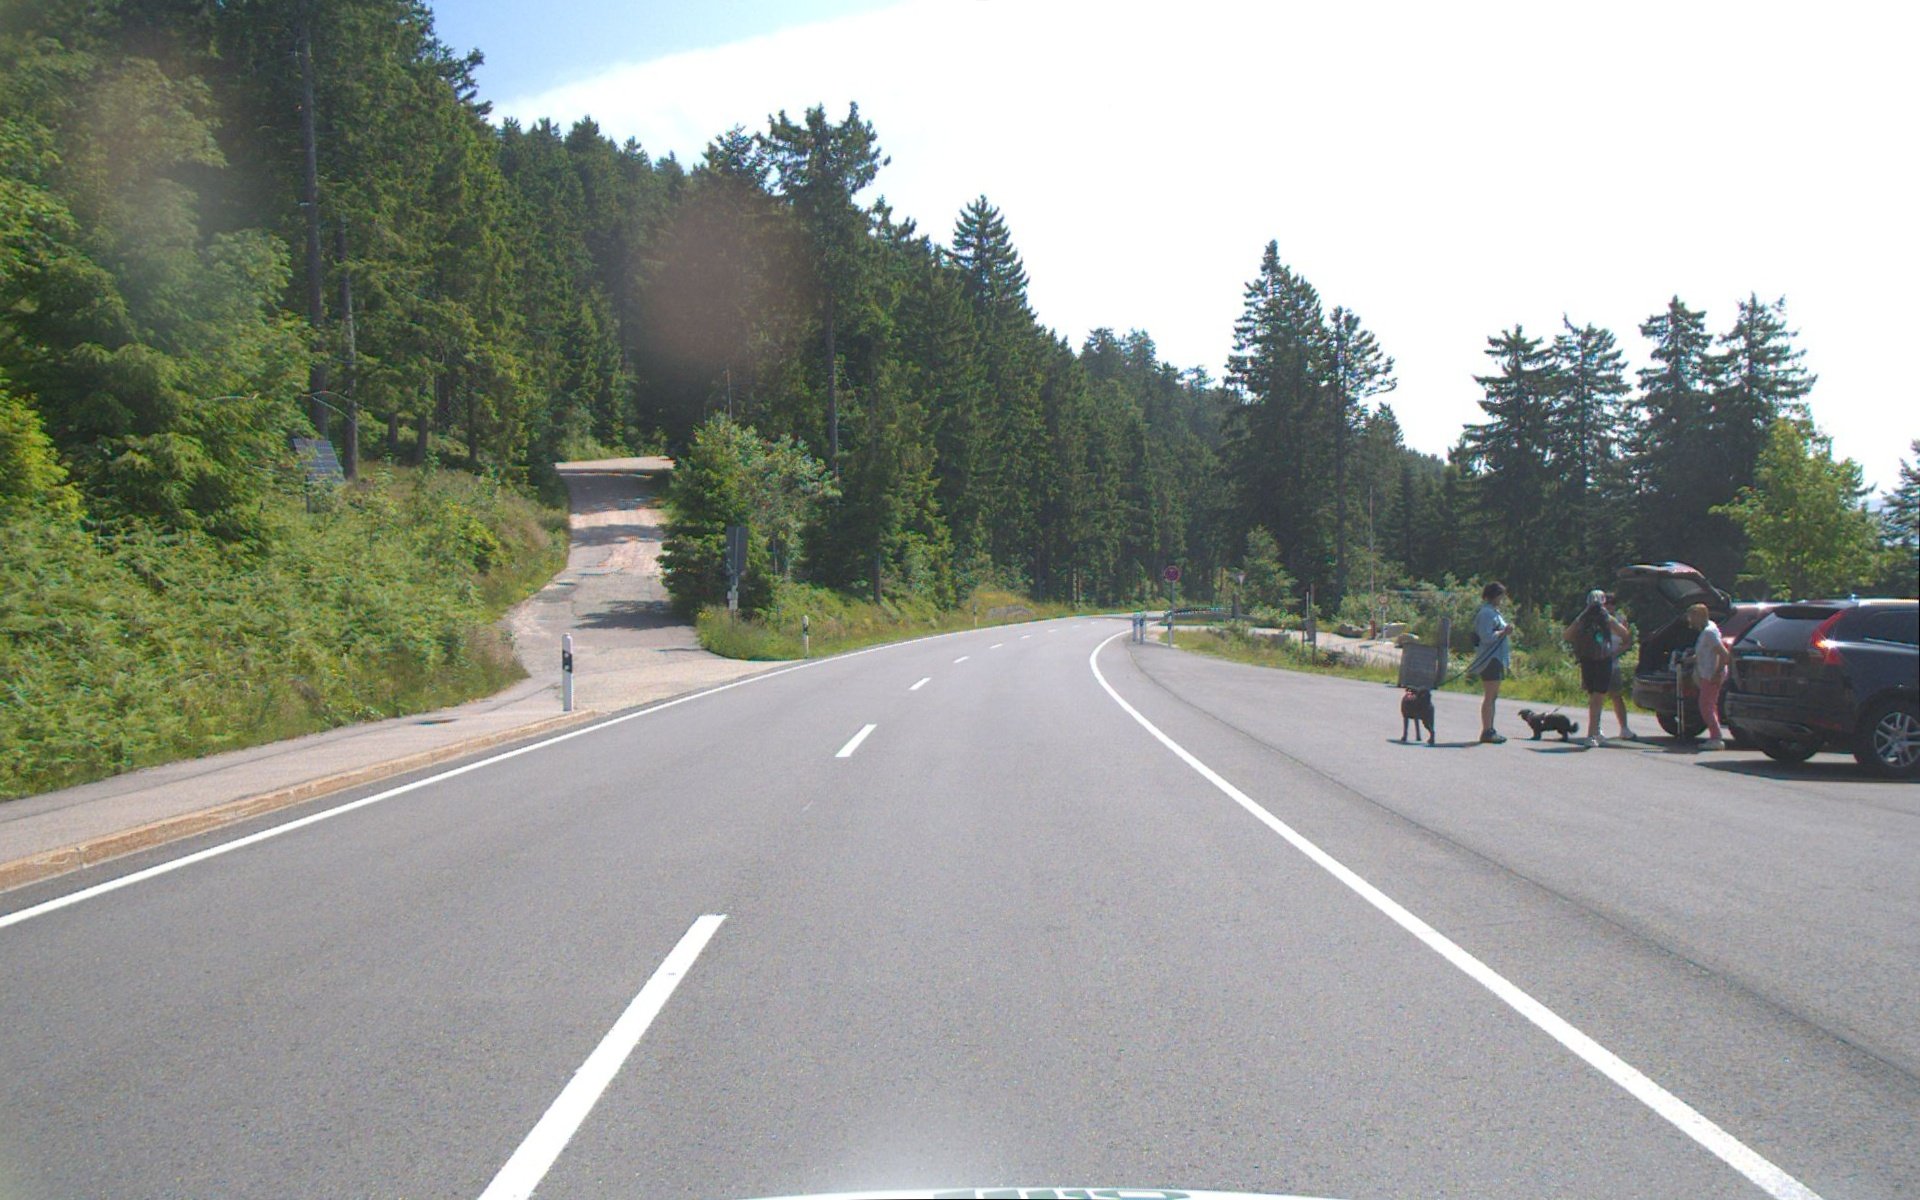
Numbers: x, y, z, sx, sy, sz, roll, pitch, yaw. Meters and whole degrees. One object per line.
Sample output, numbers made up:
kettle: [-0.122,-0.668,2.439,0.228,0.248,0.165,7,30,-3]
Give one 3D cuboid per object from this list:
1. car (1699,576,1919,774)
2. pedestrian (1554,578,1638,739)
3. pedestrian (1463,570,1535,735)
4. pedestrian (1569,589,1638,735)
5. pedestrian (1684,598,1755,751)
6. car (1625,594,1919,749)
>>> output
car: [9.871,0.700,16.474,4.181,1.825,1.890,0,1,-5]
pedestrian: [6.968,0.628,18.141,0.701,1.722,0.619,0,0,4]
pedestrian: [6.025,0.577,18.513,0.604,1.806,0.724,0,0,4]
pedestrian: [7.691,0.728,19.789,0.638,1.689,0.688,-1,2,10]
pedestrian: [8.353,0.804,18.212,0.604,1.615,0.736,-1,2,17]
car: [10.108,0.833,19.650,3.744,1.689,1.650,2,0,-7]
